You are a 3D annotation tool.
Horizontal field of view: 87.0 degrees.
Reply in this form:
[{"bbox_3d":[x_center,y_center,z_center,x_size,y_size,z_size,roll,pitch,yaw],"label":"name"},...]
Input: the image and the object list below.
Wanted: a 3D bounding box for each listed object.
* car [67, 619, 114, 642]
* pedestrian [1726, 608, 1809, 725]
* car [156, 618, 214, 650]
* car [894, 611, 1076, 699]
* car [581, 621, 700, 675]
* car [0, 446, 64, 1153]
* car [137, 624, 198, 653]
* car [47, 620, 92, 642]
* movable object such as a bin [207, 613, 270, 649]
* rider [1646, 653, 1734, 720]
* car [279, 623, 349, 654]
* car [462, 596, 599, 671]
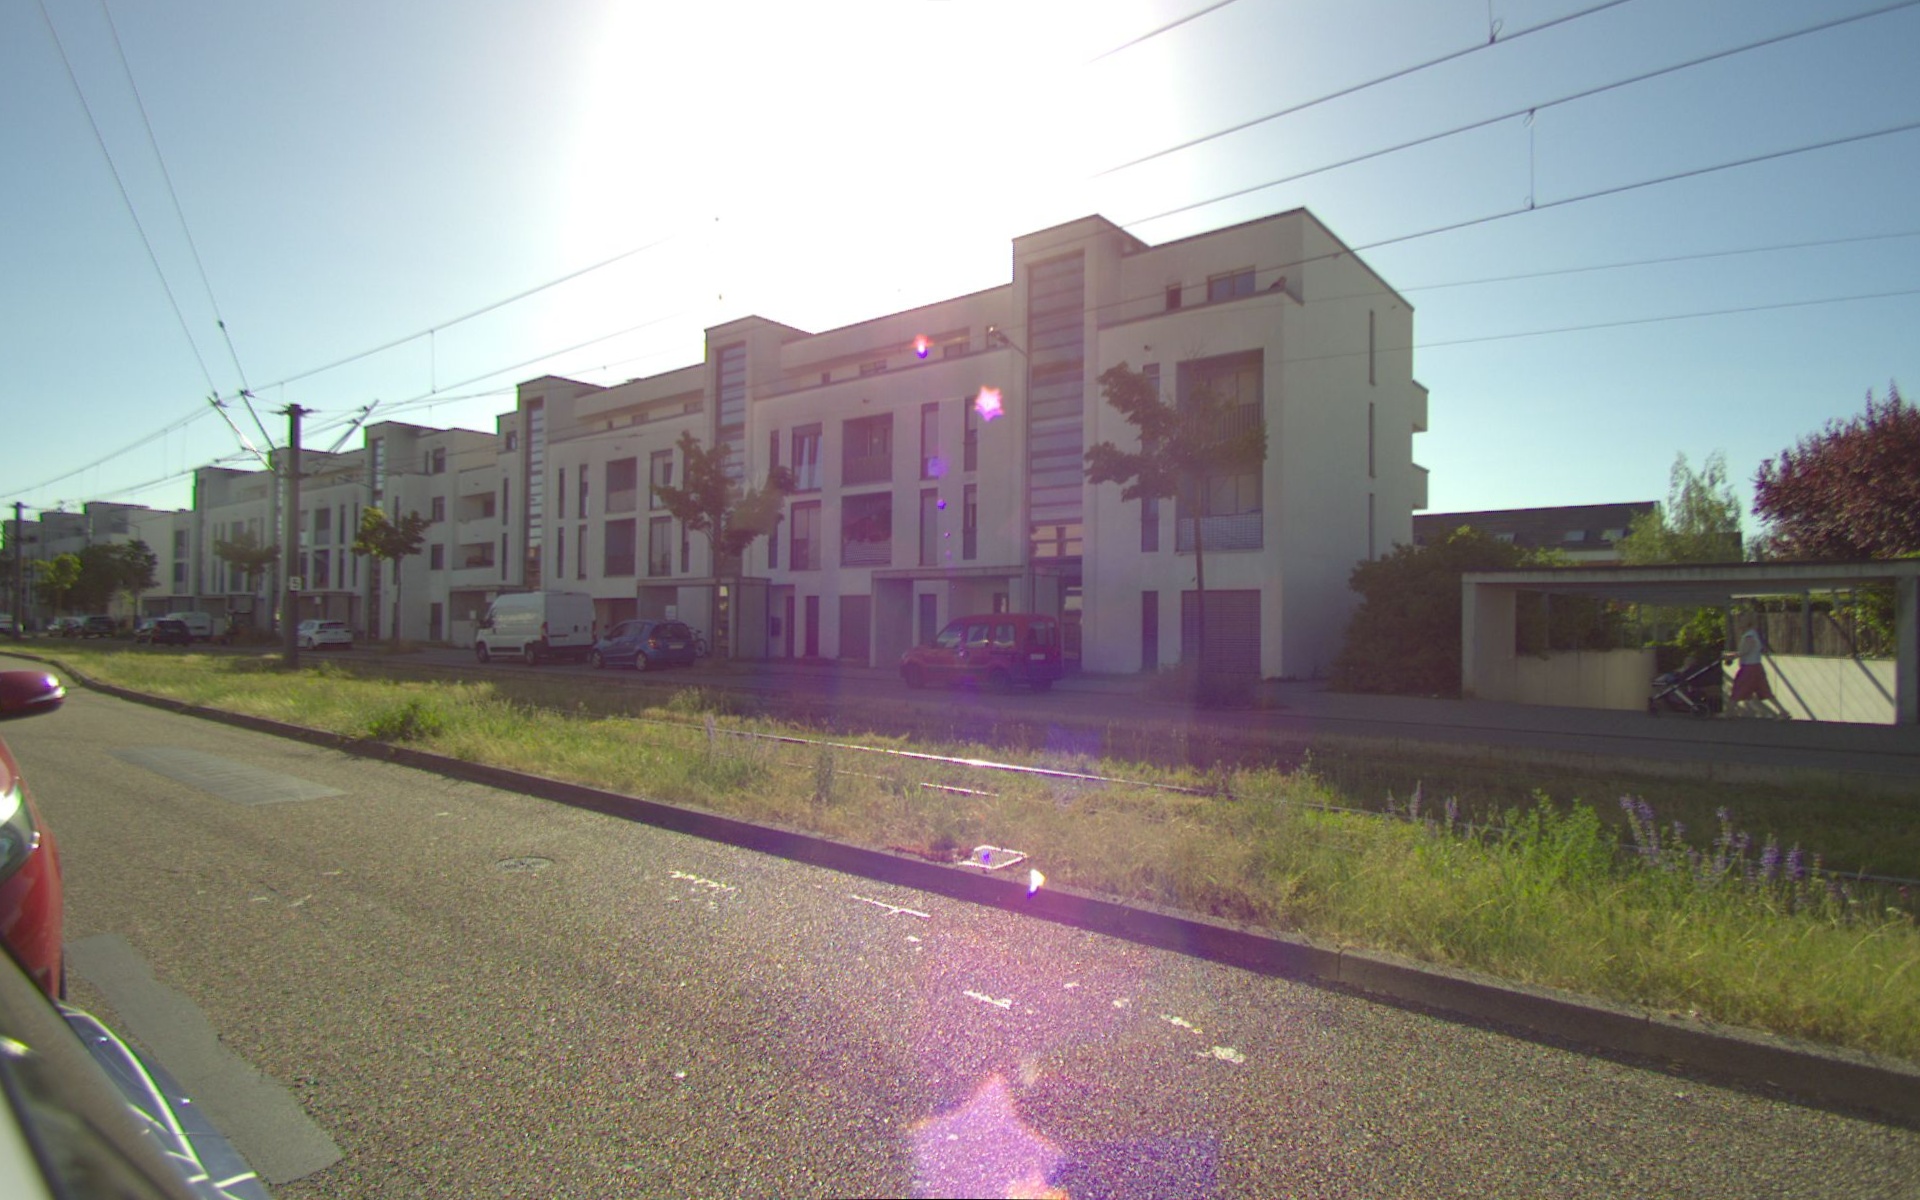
[{"bbox_3d":[-63.057,2.222,73.408,4.149,1.611,1.745,-1,-1,37],"label":"car"},{"bbox_3d":[12.718,1.014,15.946,0.806,1.761,0.910,0,-1,-45],"label":"pedestrian"},{"bbox_3d":[-47.245,2.033,61.653,4.149,1.884,1.745,-1,-1,37],"label":"car"},{"bbox_3d":[0.517,1.184,23.008,3.836,1.809,1.861,-1,-1,42],"label":"car"},{"bbox_3d":[-10.029,1.467,31.664,3.840,1.548,1.805,-1,-1,41],"label":"car"},{"bbox_3d":[-5.143,0.599,3.888,5.203,1.948,1.954,-1,0,42],"label":"car"},{"bbox_3d":[-41.405,2.010,52.841,3.999,1.429,1.769,-1,-4,42],"label":"car"},{"bbox_3d":[-67.578,2.337,76.779,4.149,1.611,1.745,-1,-1,37],"label":"car"},{"bbox_3d":[-40.832,1.728,57.256,4.149,1.952,1.745,-1,-1,37],"label":"movable object such as a bin"},{"bbox_3d":[12.033,1.410,16.687,0.769,1.010,1.046,0,-1,-44],"label":"rider"},{"bbox_3d":[-31.210,1.831,48.868,4.149,1.443,1.503,-1,-1,37],"label":"car"},{"bbox_3d":[-15.383,1.150,36.092,5.583,2.463,2.119,-1,-1,39],"label":"car"}]
